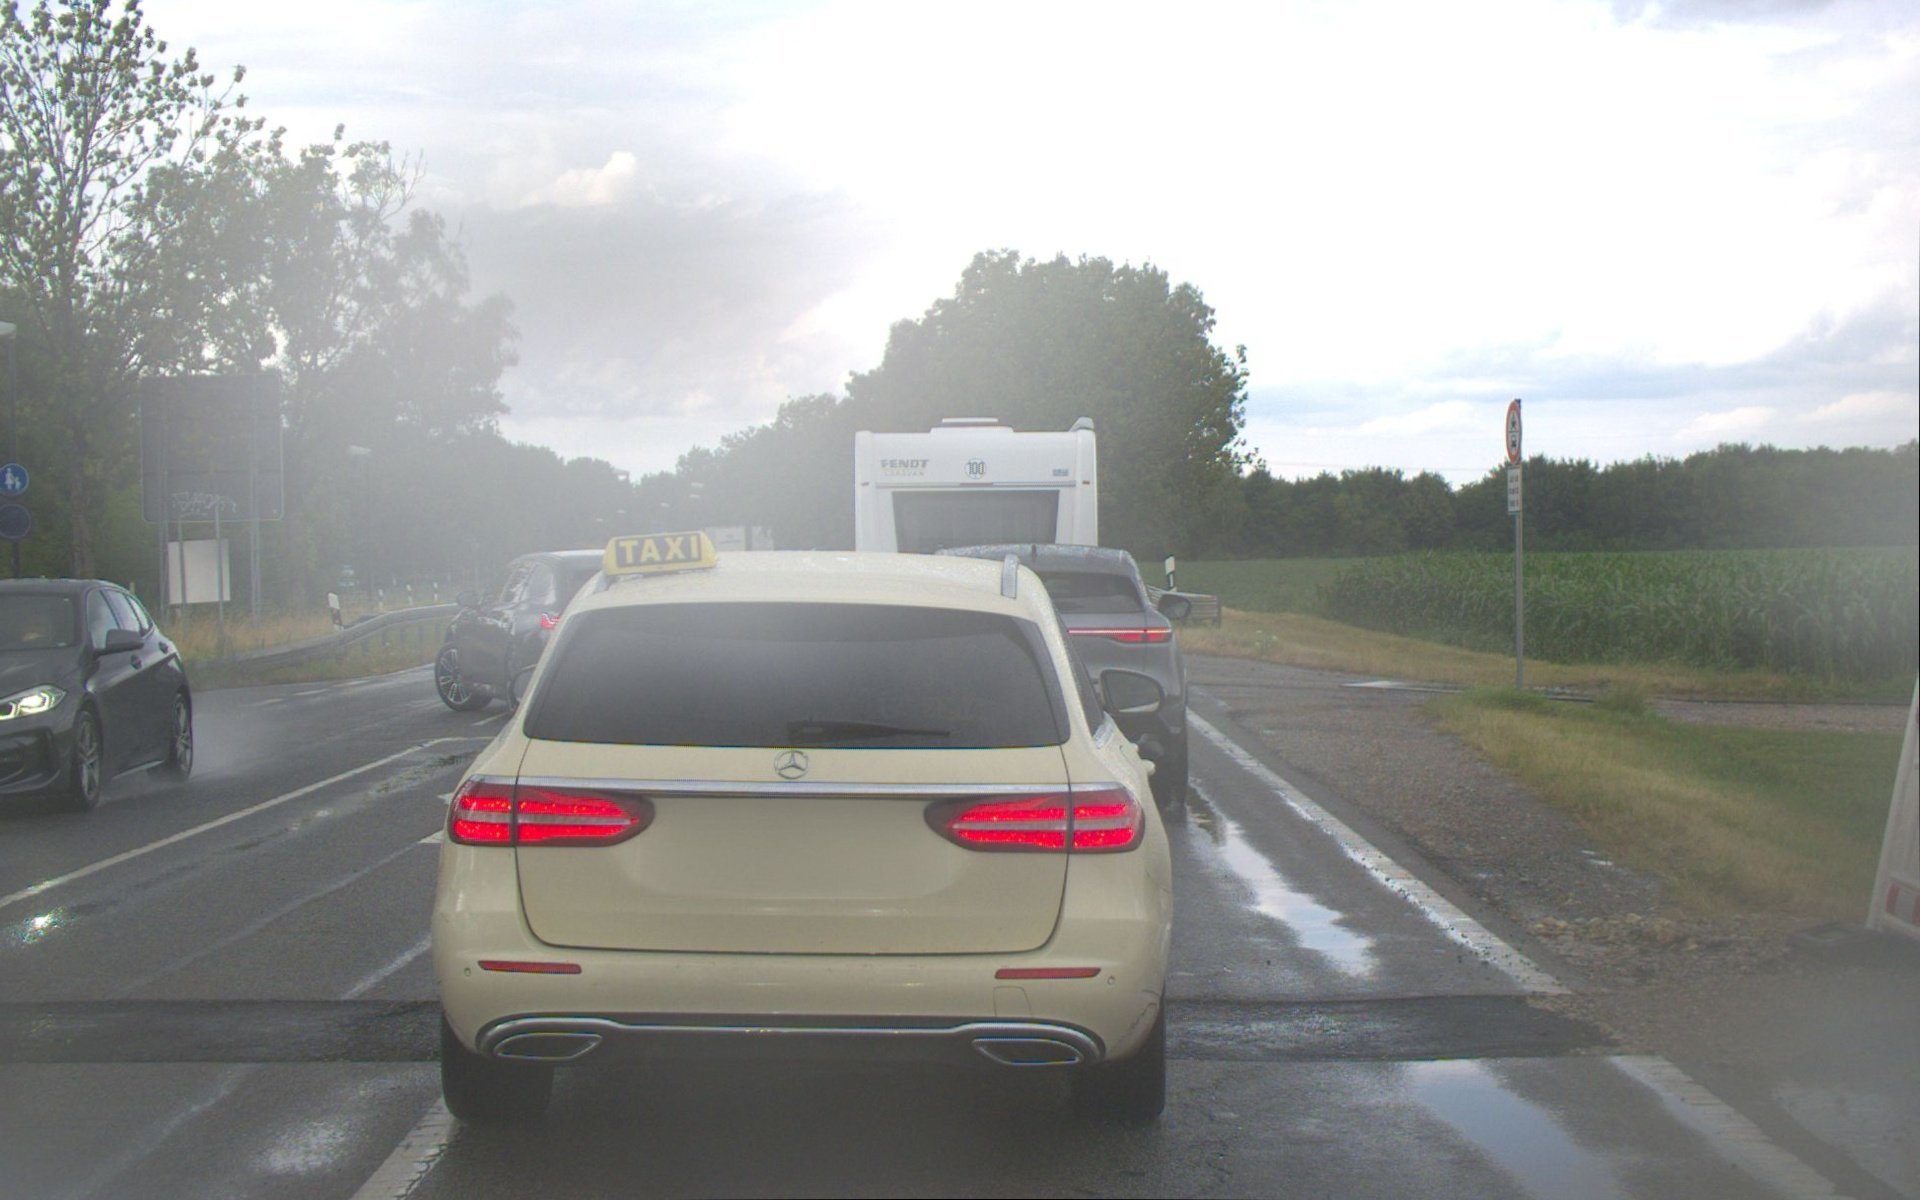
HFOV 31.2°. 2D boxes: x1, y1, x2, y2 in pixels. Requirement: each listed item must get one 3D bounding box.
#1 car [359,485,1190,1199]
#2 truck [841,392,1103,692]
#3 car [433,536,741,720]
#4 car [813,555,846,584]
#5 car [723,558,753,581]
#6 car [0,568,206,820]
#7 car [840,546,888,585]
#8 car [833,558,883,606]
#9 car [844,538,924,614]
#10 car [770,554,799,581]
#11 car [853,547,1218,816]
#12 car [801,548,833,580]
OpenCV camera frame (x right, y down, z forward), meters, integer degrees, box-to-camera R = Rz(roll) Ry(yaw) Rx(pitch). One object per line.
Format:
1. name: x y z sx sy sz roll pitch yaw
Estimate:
1. car: -0.437 0.529 9.662 1.842 1.612 4.000 0 1 -1
2. truck: 0.067 -0.597 35.366 2.363 2.719 7.315 -1 1 -1
3. car: -3.514 0.214 31.575 2.301 1.542 4.634 1 1 -12
4. car: -7.539 -1.763 198.923 1.748 1.656 3.673 -1 1 -4
5. car: -15.636 -2.160 241.861 1.828 1.568 4.000 1 1 0
6. car: -6.038 0.550 21.589 1.719 1.399 4.044 -3 1 -1
7. car: -4.445 -1.604 158.717 1.993 1.766 4.001 -1 1 -4
8. car: -3.844 -0.699 130.419 1.791 1.771 3.721 -1 1 -1
9. car: -1.890 -0.617 86.185 1.915 1.834 3.796 -1 1 0
10. car: -12.505 -2.332 245.131 1.895 1.833 3.882 -1 1 -1
11. car: 0.395 0.428 20.974 1.993 1.457 4.000 1 1 -1
12. car: -8.792 -2.227 211.277 1.895 1.888 3.844 -1 1 -4
